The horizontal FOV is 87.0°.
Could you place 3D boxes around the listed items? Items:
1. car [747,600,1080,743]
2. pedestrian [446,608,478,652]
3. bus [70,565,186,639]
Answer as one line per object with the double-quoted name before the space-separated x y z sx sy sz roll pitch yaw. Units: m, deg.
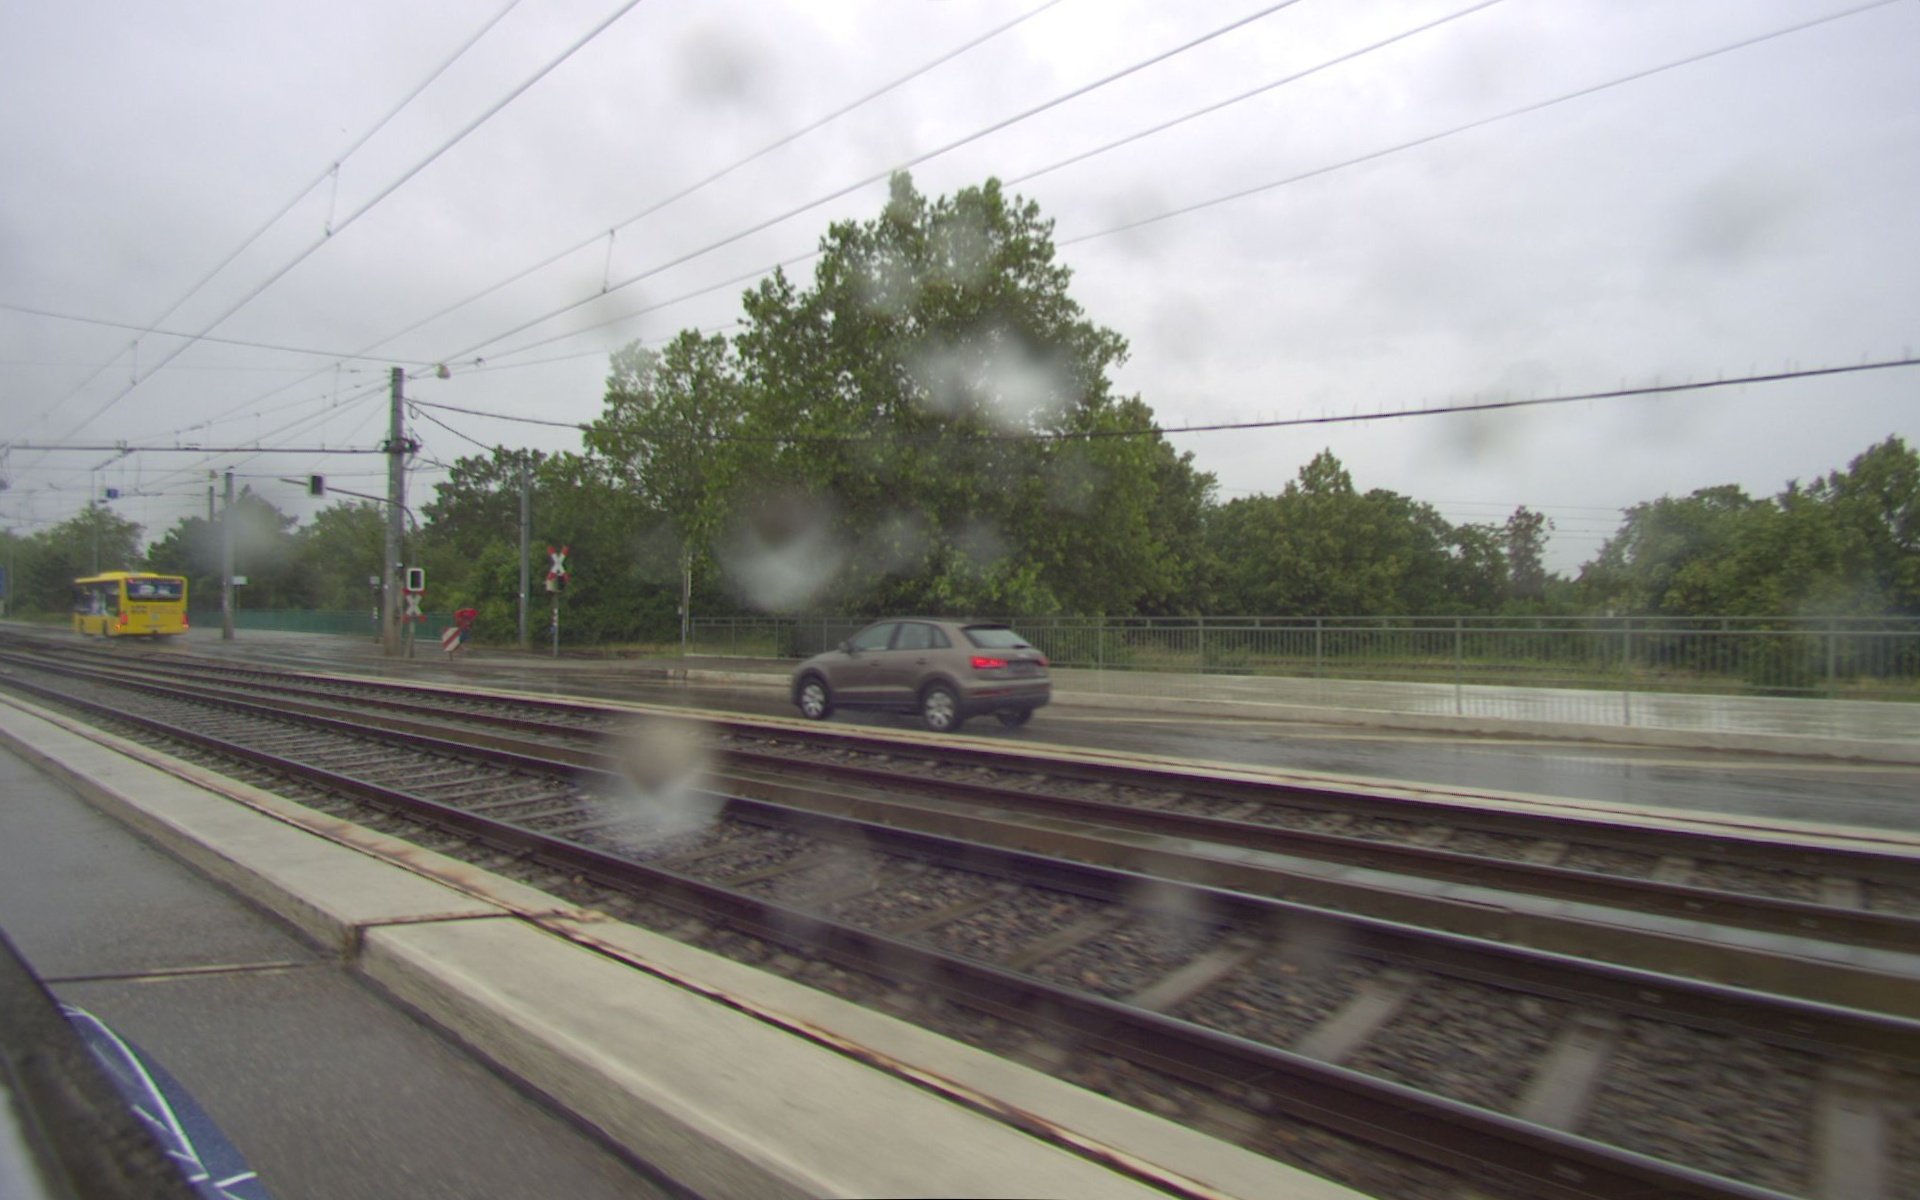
"car" -0.834 0.937 15.098 4.939 1.730 1.973 1 -1 41
"pedestrian" -21.382 1.269 43.443 1.042 1.832 0.856 1 2 39
"bus" -41.973 0.275 50.882 10.987 3.367 2.680 -2 -3 41
